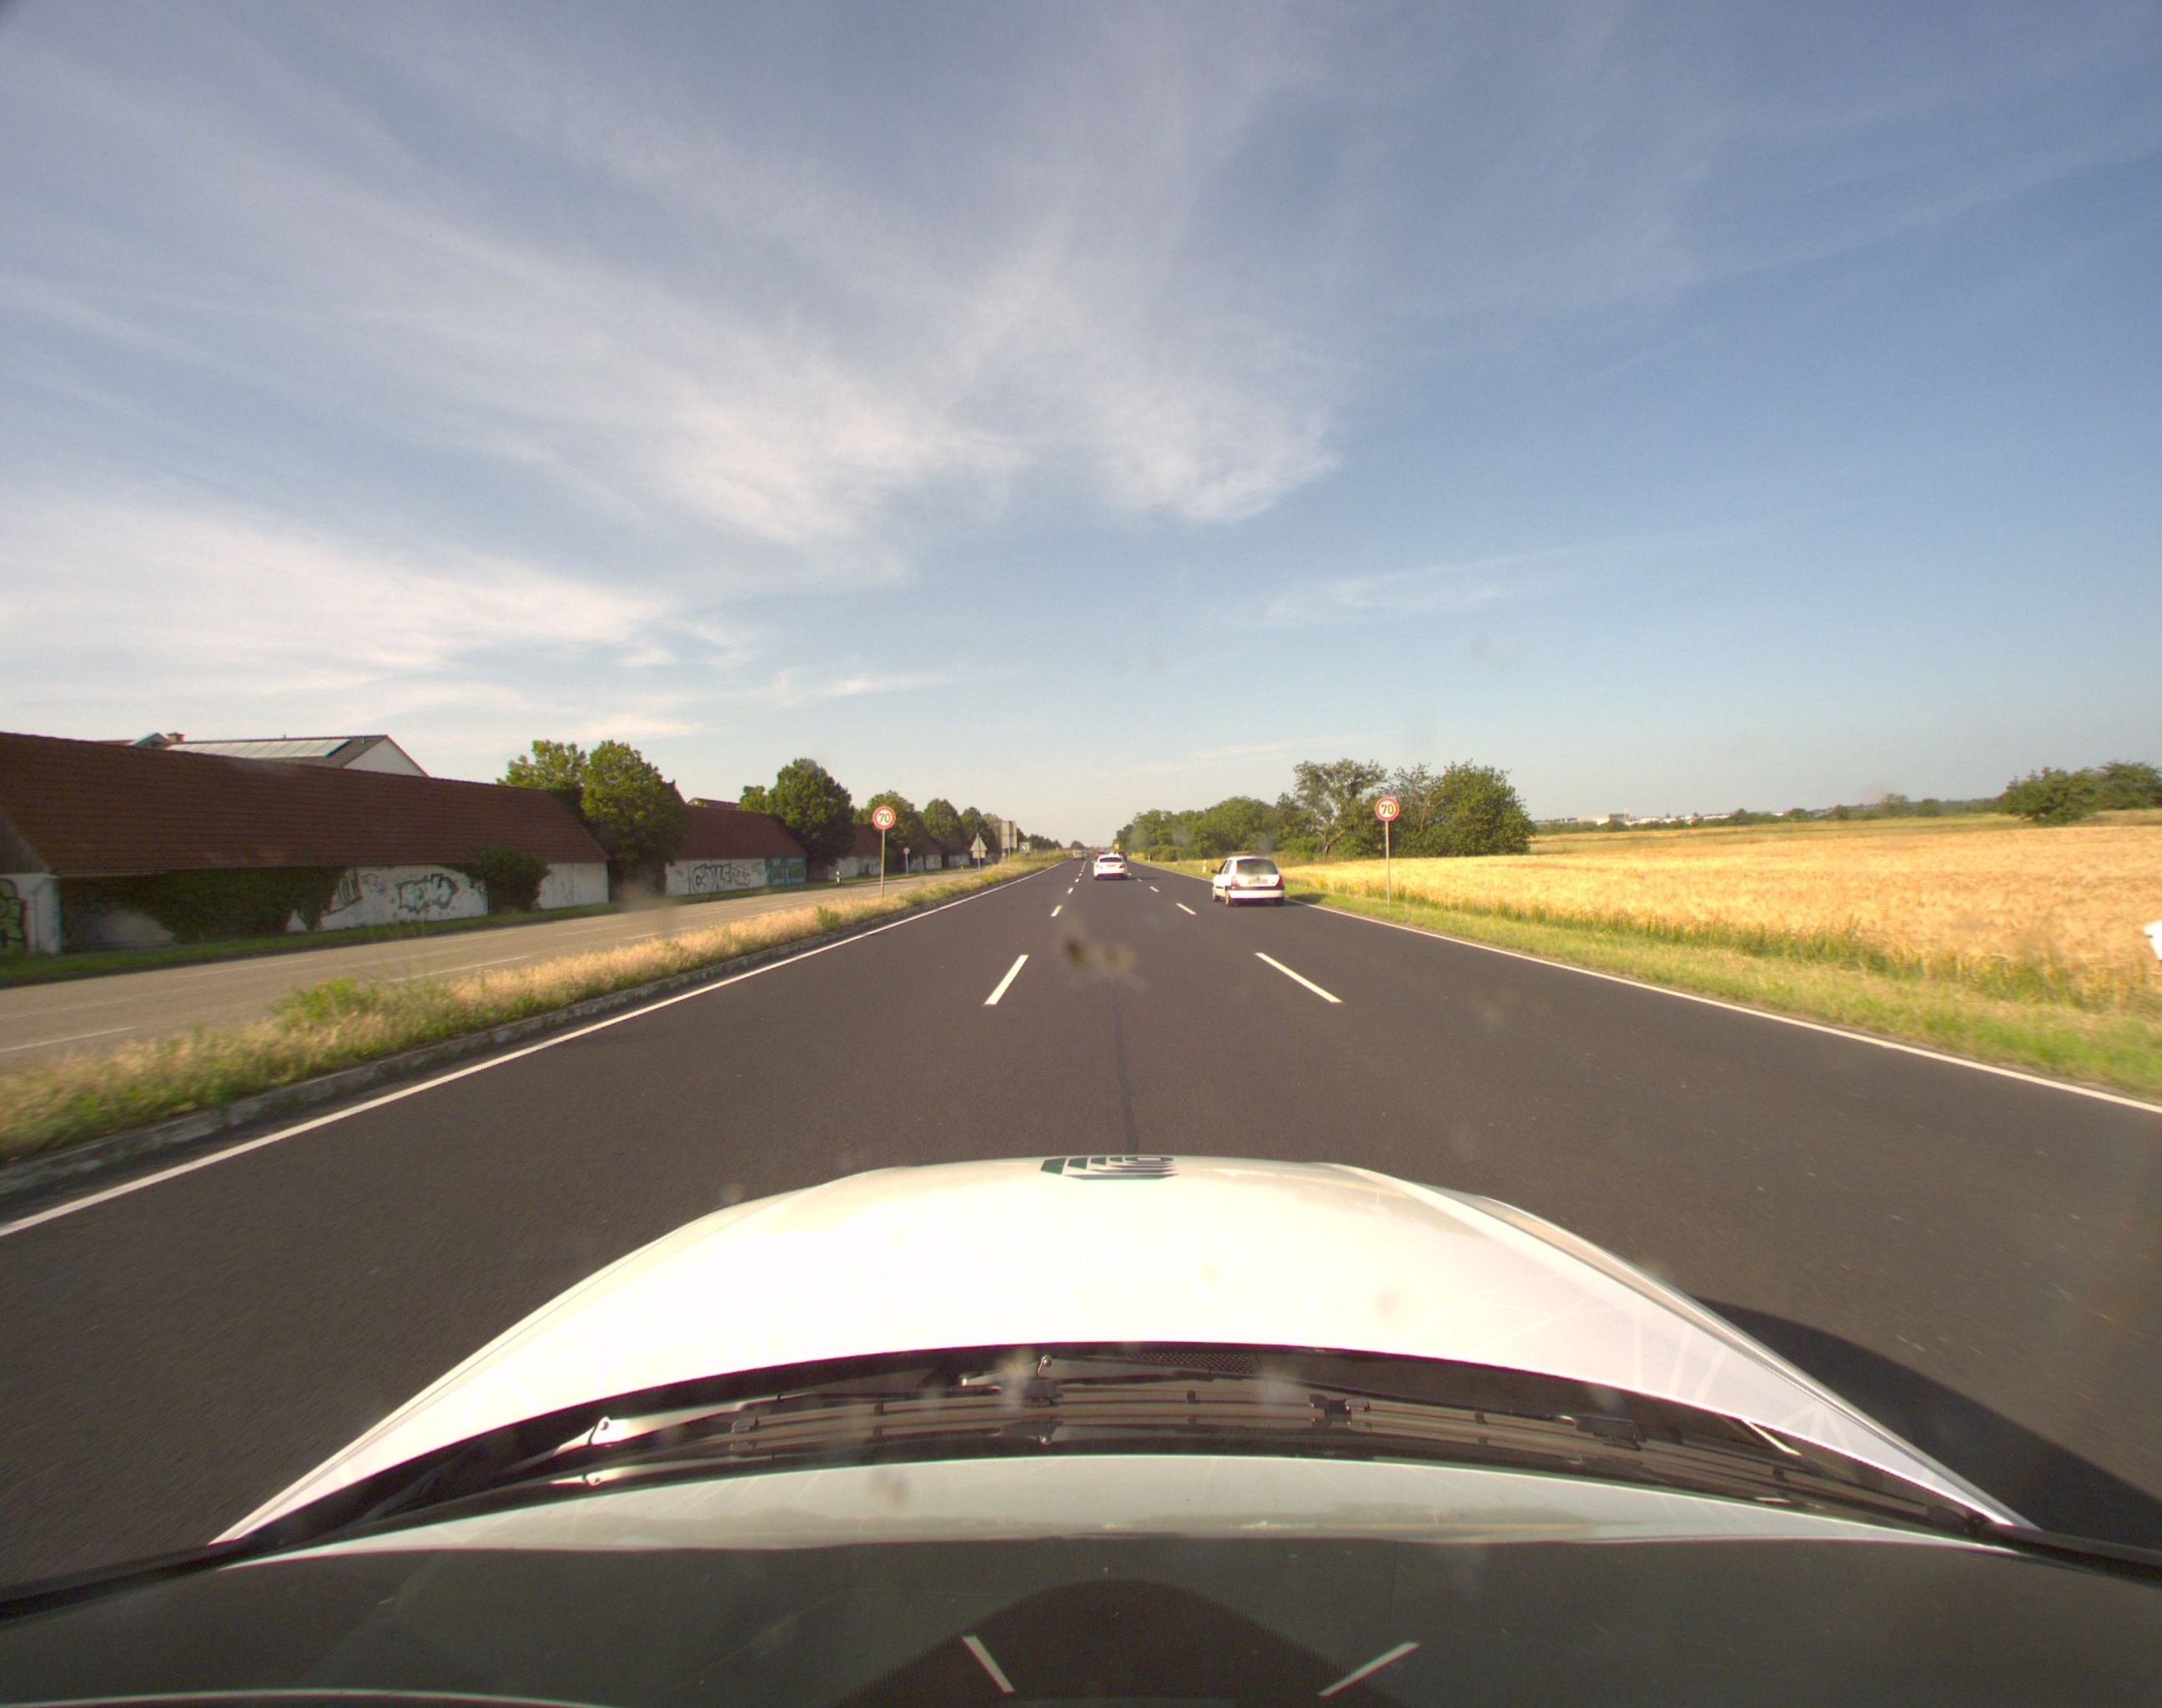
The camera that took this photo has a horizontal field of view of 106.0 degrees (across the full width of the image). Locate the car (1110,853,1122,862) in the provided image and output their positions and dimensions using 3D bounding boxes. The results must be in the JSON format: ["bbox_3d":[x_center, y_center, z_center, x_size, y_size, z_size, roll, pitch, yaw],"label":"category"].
[{"bbox_3d":[7.056,0.727,164.879,1.988,1.585,4.282,-1,-1,-1],"label":"car"}]

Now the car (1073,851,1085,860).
[{"bbox_3d":[-0.337,0.259,139.709,1.751,1.618,4.003,-1,-1,3],"label":"car"}]

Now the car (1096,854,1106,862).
[{"bbox_3d":[3.780,0.749,151.972,1.806,1.436,3.858,-1,-1,1],"label":"car"}]

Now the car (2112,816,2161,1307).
[{"bbox_3d":[4.117,0.602,0.346,1.698,1.506,4.501,-1,-1,1],"label":"car"}]

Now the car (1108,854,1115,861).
[{"bbox_3d":[7.764,0.915,208.786,1.796,1.904,3.562,-1,-1,3],"label":"car"}]

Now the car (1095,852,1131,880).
[{"bbox_3d":[1.823,0.696,46.806,1.986,1.516,4.001,-1,-1,1],"label":"car"}]

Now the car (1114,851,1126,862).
[{"bbox_3d":[6.231,0.377,129.588,1.821,1.728,4.001,-1,-1,1],"label":"car"}]

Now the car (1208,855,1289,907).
[{"bbox_3d":[4.797,0.750,23.822,1.611,1.387,3.952,-1,-1,1],"label":"car"}]
